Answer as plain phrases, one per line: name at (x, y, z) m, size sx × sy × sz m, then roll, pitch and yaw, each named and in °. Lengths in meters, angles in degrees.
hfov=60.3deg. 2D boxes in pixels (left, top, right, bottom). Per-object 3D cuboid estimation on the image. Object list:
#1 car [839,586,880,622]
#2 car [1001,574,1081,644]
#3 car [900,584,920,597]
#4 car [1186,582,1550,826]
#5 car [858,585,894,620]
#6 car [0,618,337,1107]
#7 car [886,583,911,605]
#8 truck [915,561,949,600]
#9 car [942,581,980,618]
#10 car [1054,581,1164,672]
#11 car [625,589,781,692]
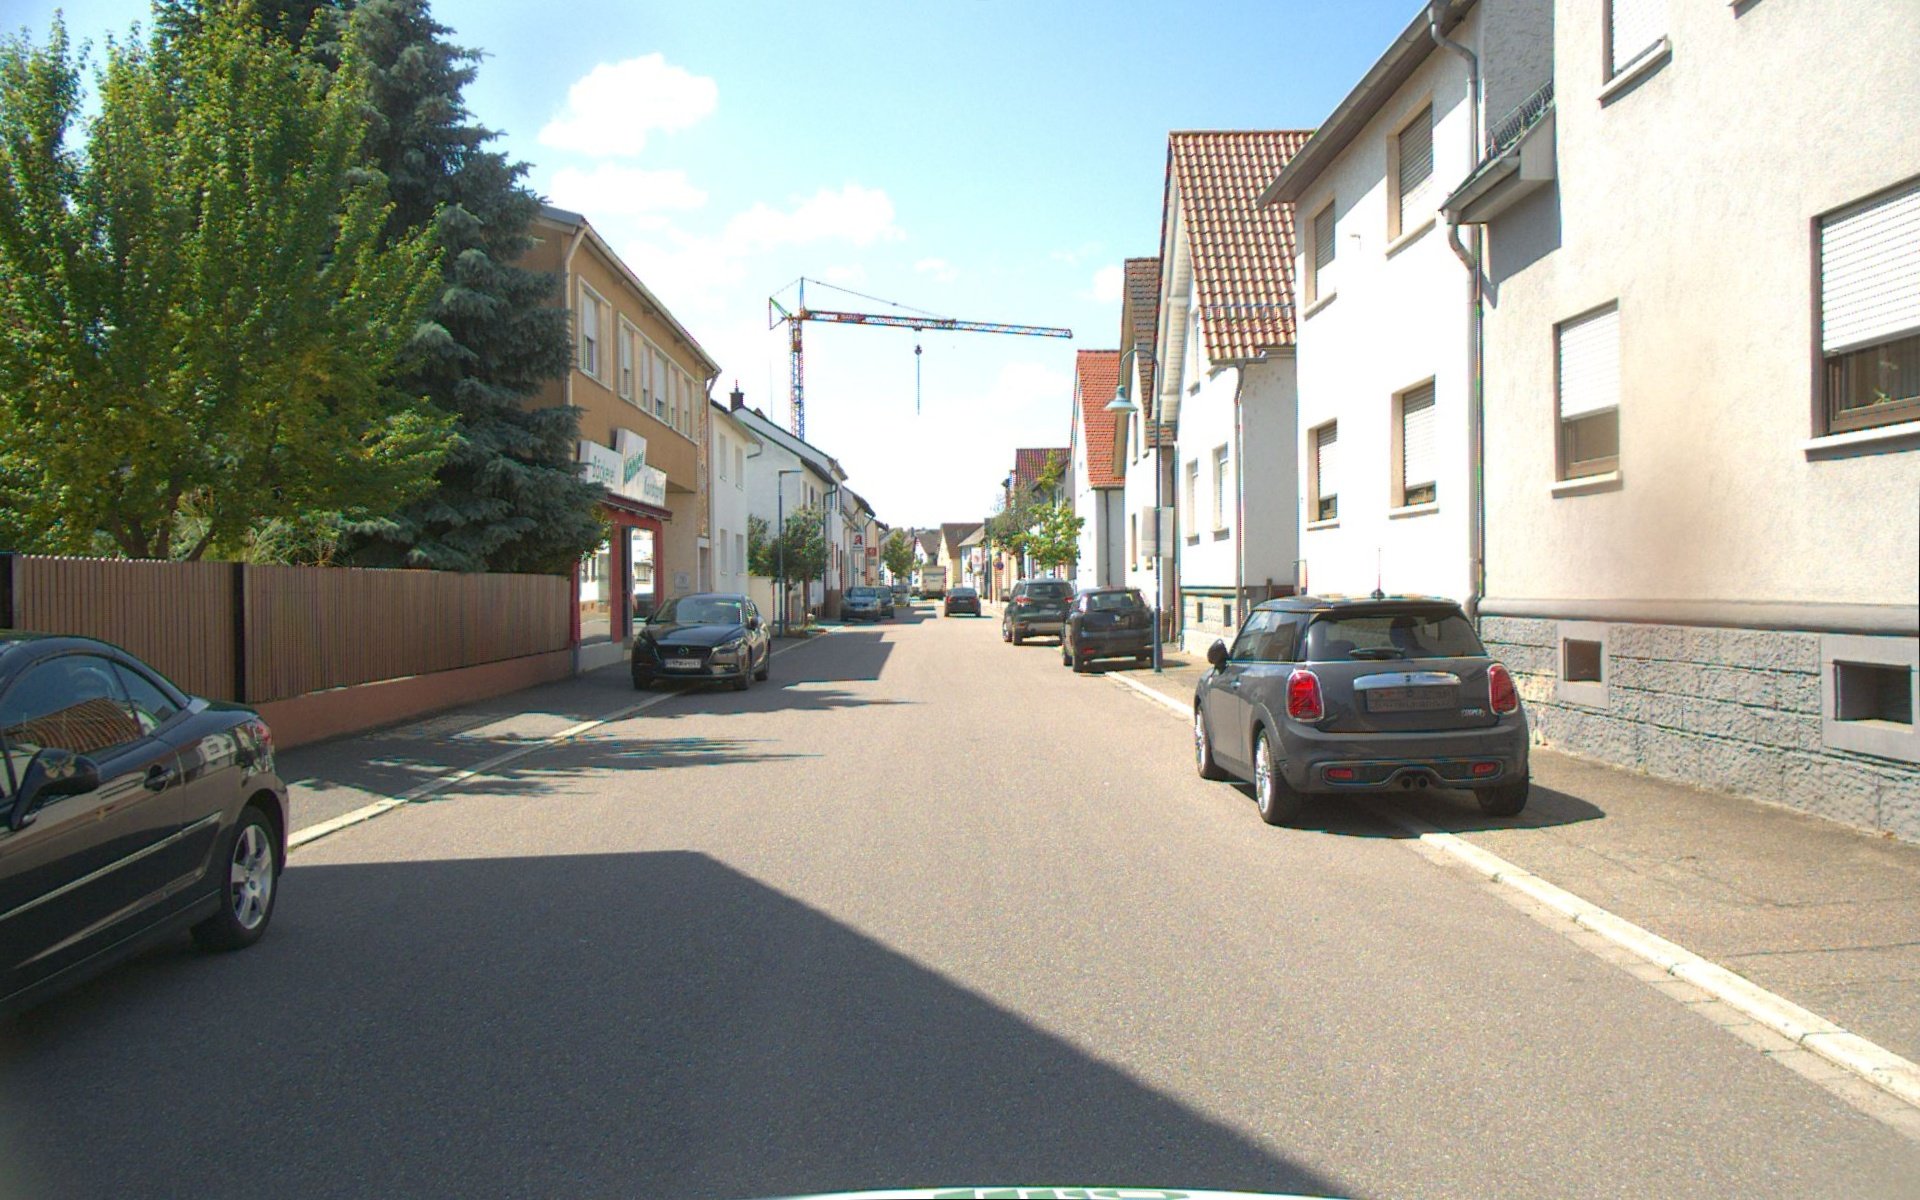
car at (-4.583, 0.151, 75.924) m, size 1.723 × 1.551 × 4.288 m, roll -1°, pitch 1°, yaw -1°
car at (2.106, 0.203, 44.119) m, size 1.694 × 1.747 × 4.273 m, roll -1°, pitch 1°, yaw -3°
car at (-7.204, -1.307, 238.396) m, size 1.792 × 1.784 × 4.209 m, roll -2°, pitch 0°, yaw -16°
car at (2.729, 0.613, 11.870) m, size 1.654 × 1.447 × 3.656 m, roll -1°, pitch 1°, yaw -1°
car at (-4.172, 0.105, 82.608) m, size 1.620 × 1.637 × 4.060 m, roll -1°, pitch 1°, yaw -1°
car at (-3.748, 0.807, 5.700) m, size 1.725 × 1.398 × 4.065 m, roll 0°, pitch 0°, yaw -1°
car at (-4.530, -0.459, 122.045) m, size 1.688 × 1.583 × 4.172 m, roll 1°, pitch 1°, yaw 0°
truck at (-3.092, -2.049, 179.318) m, size 3.311 × 3.932 × 13.920 m, roll -2°, pitch 0°, yaw -2°
car at (0.031, -0.036, 83.151) m, size 1.747 × 1.784 × 3.999 m, roll -2°, pitch 0°, yaw -2°
car at (2.775, 0.450, 31.531) m, size 1.584 × 1.521 × 3.971 m, roll -3°, pitch 1°, yaw -1°
car at (-4.040, 0.580, 26.655) m, size 1.732 × 1.485 × 4.437 m, roll -1°, pitch 1°, yaw 1°
